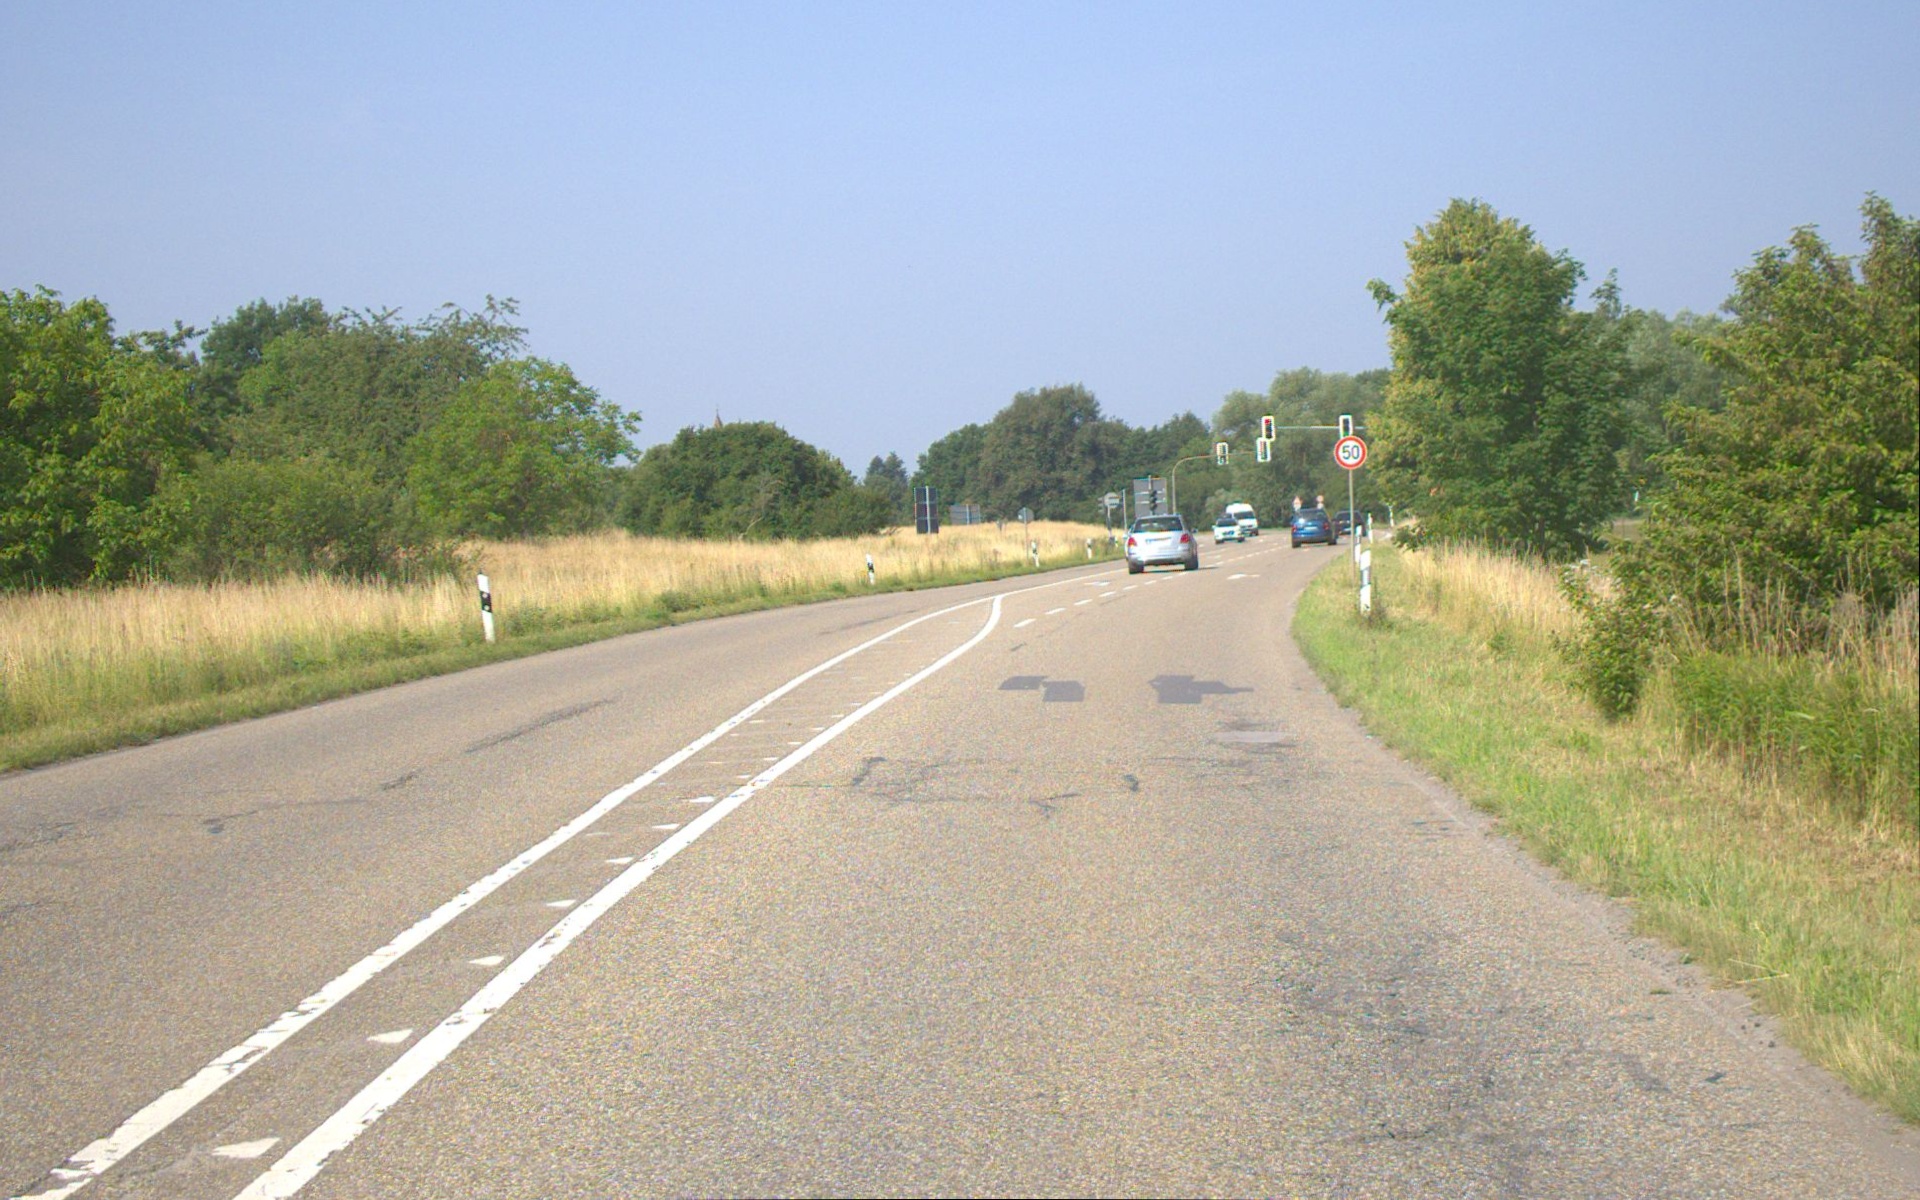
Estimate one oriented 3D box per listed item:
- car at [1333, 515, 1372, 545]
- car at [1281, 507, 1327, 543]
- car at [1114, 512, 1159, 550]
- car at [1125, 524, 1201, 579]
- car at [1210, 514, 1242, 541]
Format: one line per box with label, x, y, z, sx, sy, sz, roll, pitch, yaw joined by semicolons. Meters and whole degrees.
car;21.056;-3.759;184.625;1.841;1.546;4.000;0;1;3
car;14.850;-3.258;148.355;1.816;1.515;3.999;1;1;8
car;7.515;-2.930;146.239;1.812;1.579;4.224;1;1;4
car;5.780;-1.397;97.428;1.899;1.506;3.999;0;1;7
car;17.883;-4.882;231.200;1.836;1.688;3.858;-1;1;8
